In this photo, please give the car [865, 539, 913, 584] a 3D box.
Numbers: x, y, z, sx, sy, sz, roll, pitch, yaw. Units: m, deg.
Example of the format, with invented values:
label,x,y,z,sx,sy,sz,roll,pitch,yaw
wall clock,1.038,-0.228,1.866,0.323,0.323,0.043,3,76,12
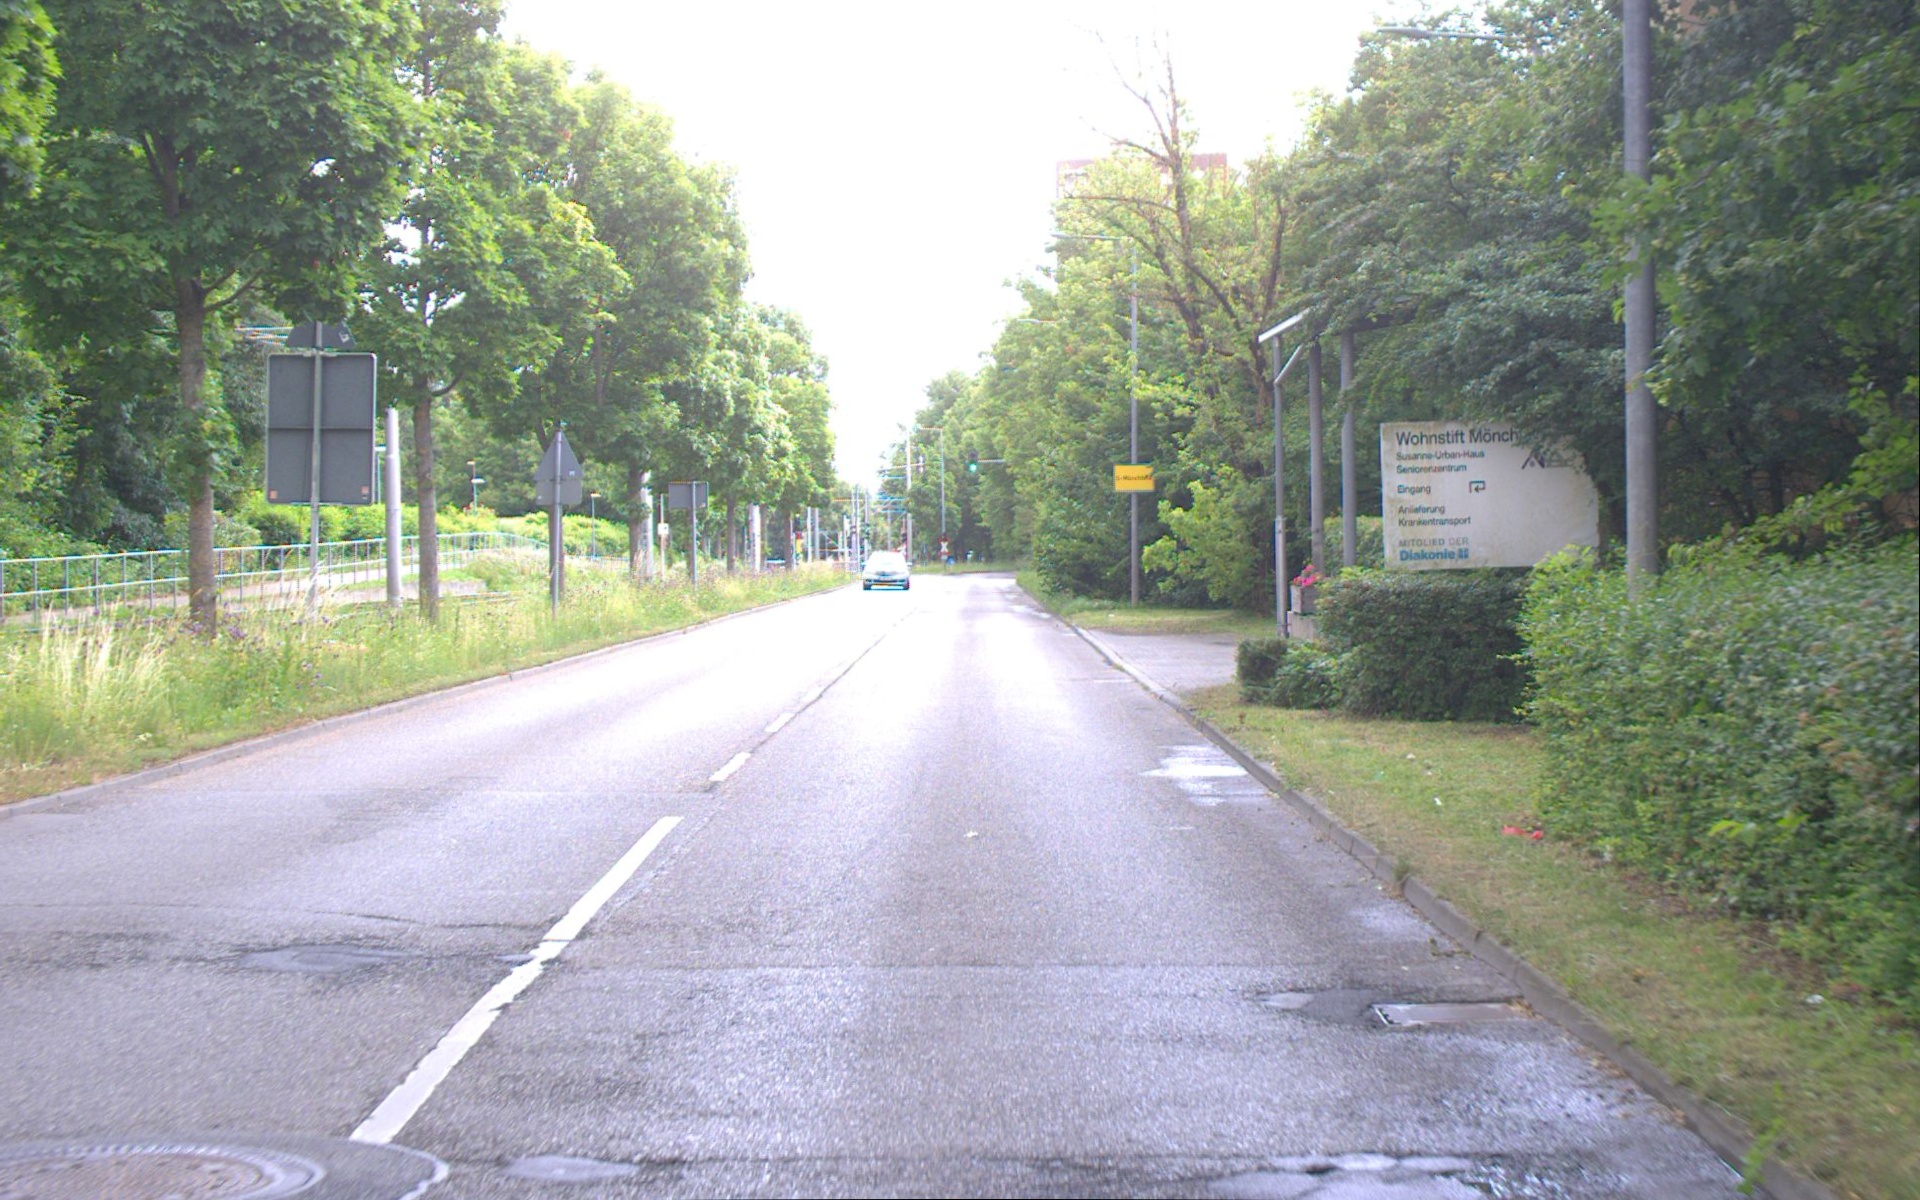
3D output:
label,x,y,z,sx,sy,sz,roll,pitch,yaw
car,-2.753,-1.511,133.931,1.716,1.624,4.000,2,1,1
